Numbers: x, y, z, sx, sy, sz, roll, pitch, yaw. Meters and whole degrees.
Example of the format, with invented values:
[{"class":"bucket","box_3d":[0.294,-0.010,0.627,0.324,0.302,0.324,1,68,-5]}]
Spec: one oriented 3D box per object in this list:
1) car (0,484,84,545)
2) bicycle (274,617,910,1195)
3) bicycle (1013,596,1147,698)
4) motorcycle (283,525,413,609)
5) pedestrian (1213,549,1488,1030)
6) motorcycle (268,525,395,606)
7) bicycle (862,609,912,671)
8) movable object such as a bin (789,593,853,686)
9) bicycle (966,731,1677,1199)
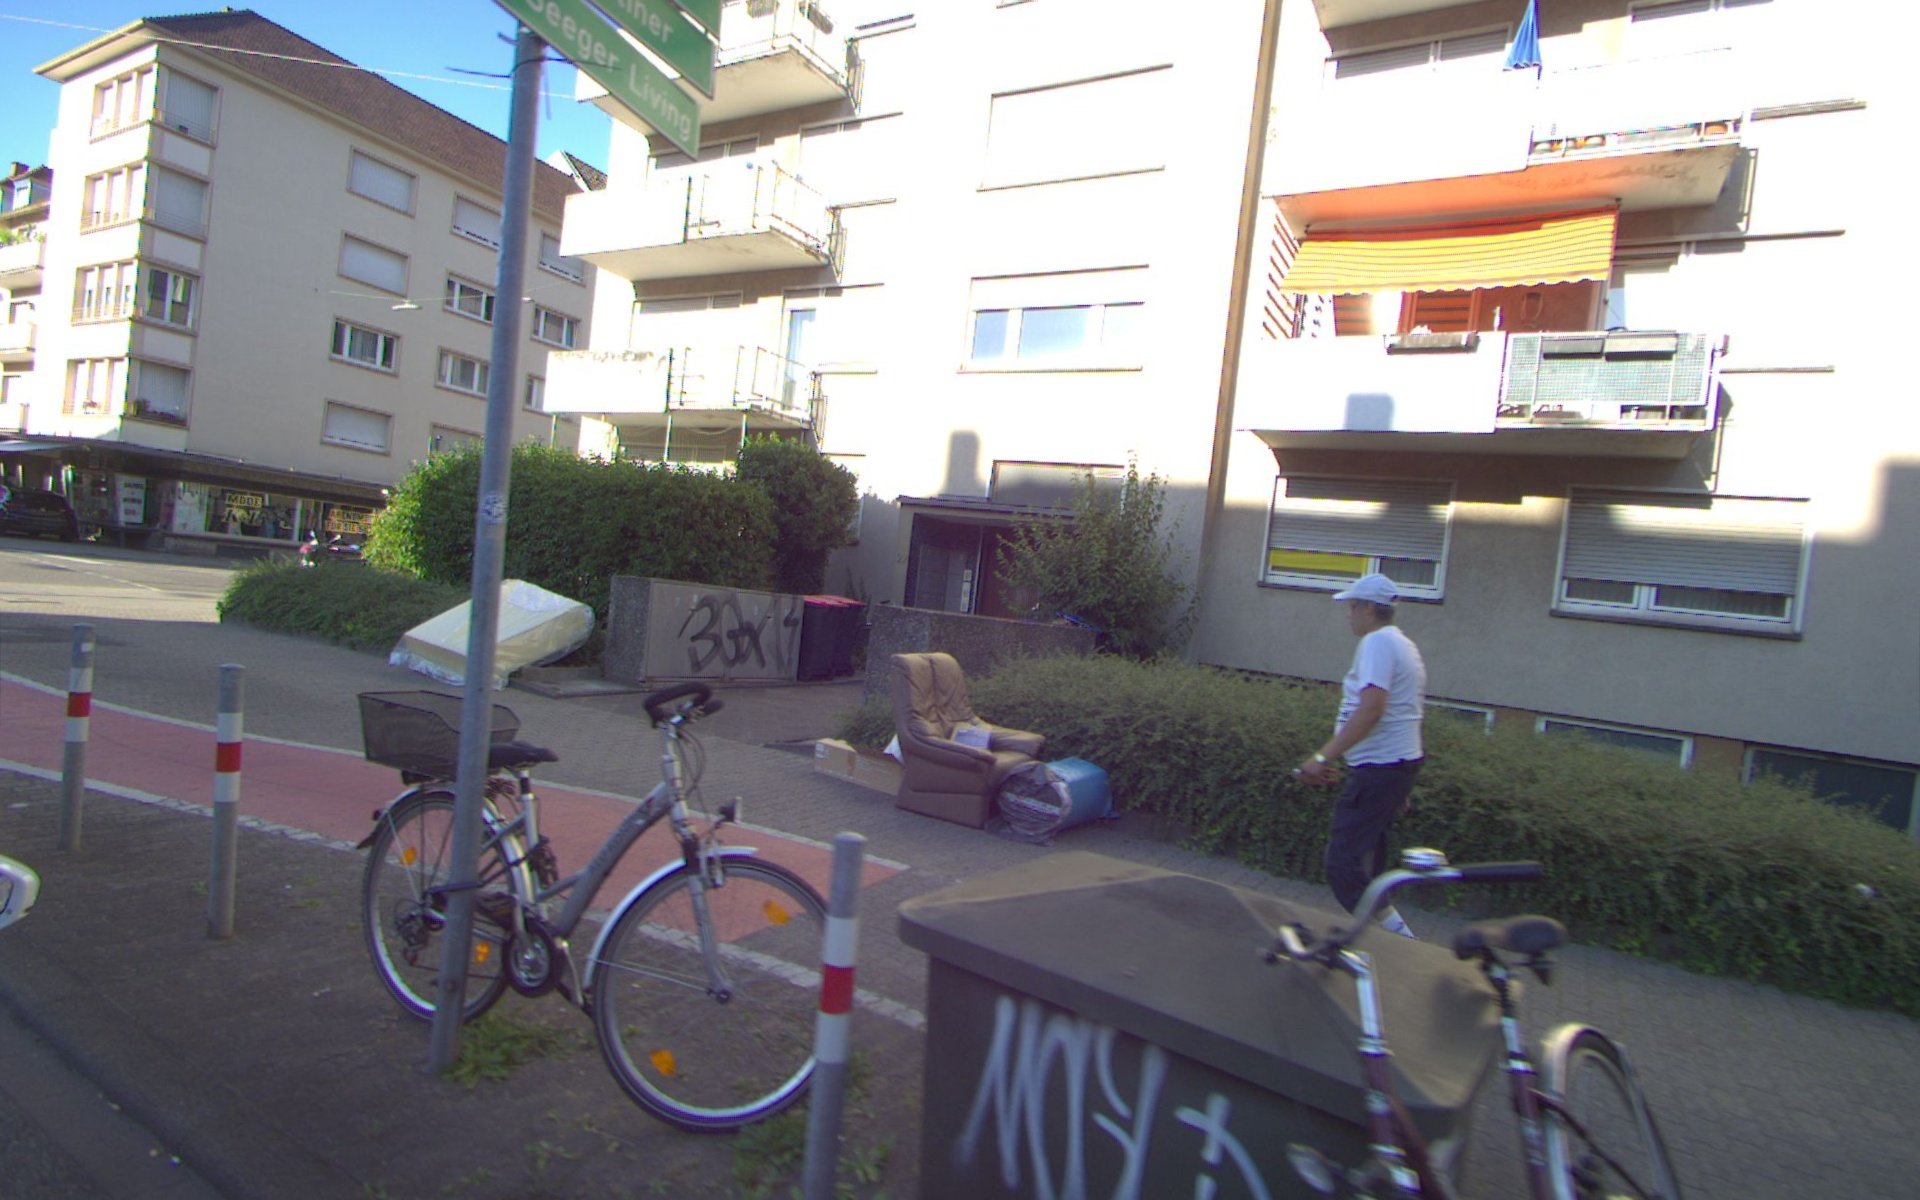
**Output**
[{"class":"car","box_3d":[-27.763,-2.593,29.651,3.934,1.504,1.778,7,0,32]},{"class":"bicycle","box_3d":[-1.157,0.731,2.976,1.924,1.163,0.502,6,3,25]},{"class":"bicycle","box_3d":[1.660,0.637,14.102,1.766,1.198,0.356,7,1,32]},{"class":"motorcycle","box_3d":[-11.682,-0.612,19.253,0.683,1.378,1.914,7,0,35]},{"class":"pedestrian","box_3d":[1.649,0.719,4.250,0.760,1.772,0.662,7,3,37]},{"class":"motorcycle","box_3d":[-12.355,-0.655,19.836,0.683,1.378,1.914,7,0,35]},{"class":"bicycle","box_3d":[-1.098,0.599,15.310,0.313,0.871,1.322,7,0,12]},{"class":"movable object such as a bin","box_3d":[-1.804,0.517,13.090,0.410,1.141,0.632,7,1,31]},{"class":"bicycle","box_3d":[0.814,0.946,1.859,0.673,1.173,1.832,7,3,37]}]
